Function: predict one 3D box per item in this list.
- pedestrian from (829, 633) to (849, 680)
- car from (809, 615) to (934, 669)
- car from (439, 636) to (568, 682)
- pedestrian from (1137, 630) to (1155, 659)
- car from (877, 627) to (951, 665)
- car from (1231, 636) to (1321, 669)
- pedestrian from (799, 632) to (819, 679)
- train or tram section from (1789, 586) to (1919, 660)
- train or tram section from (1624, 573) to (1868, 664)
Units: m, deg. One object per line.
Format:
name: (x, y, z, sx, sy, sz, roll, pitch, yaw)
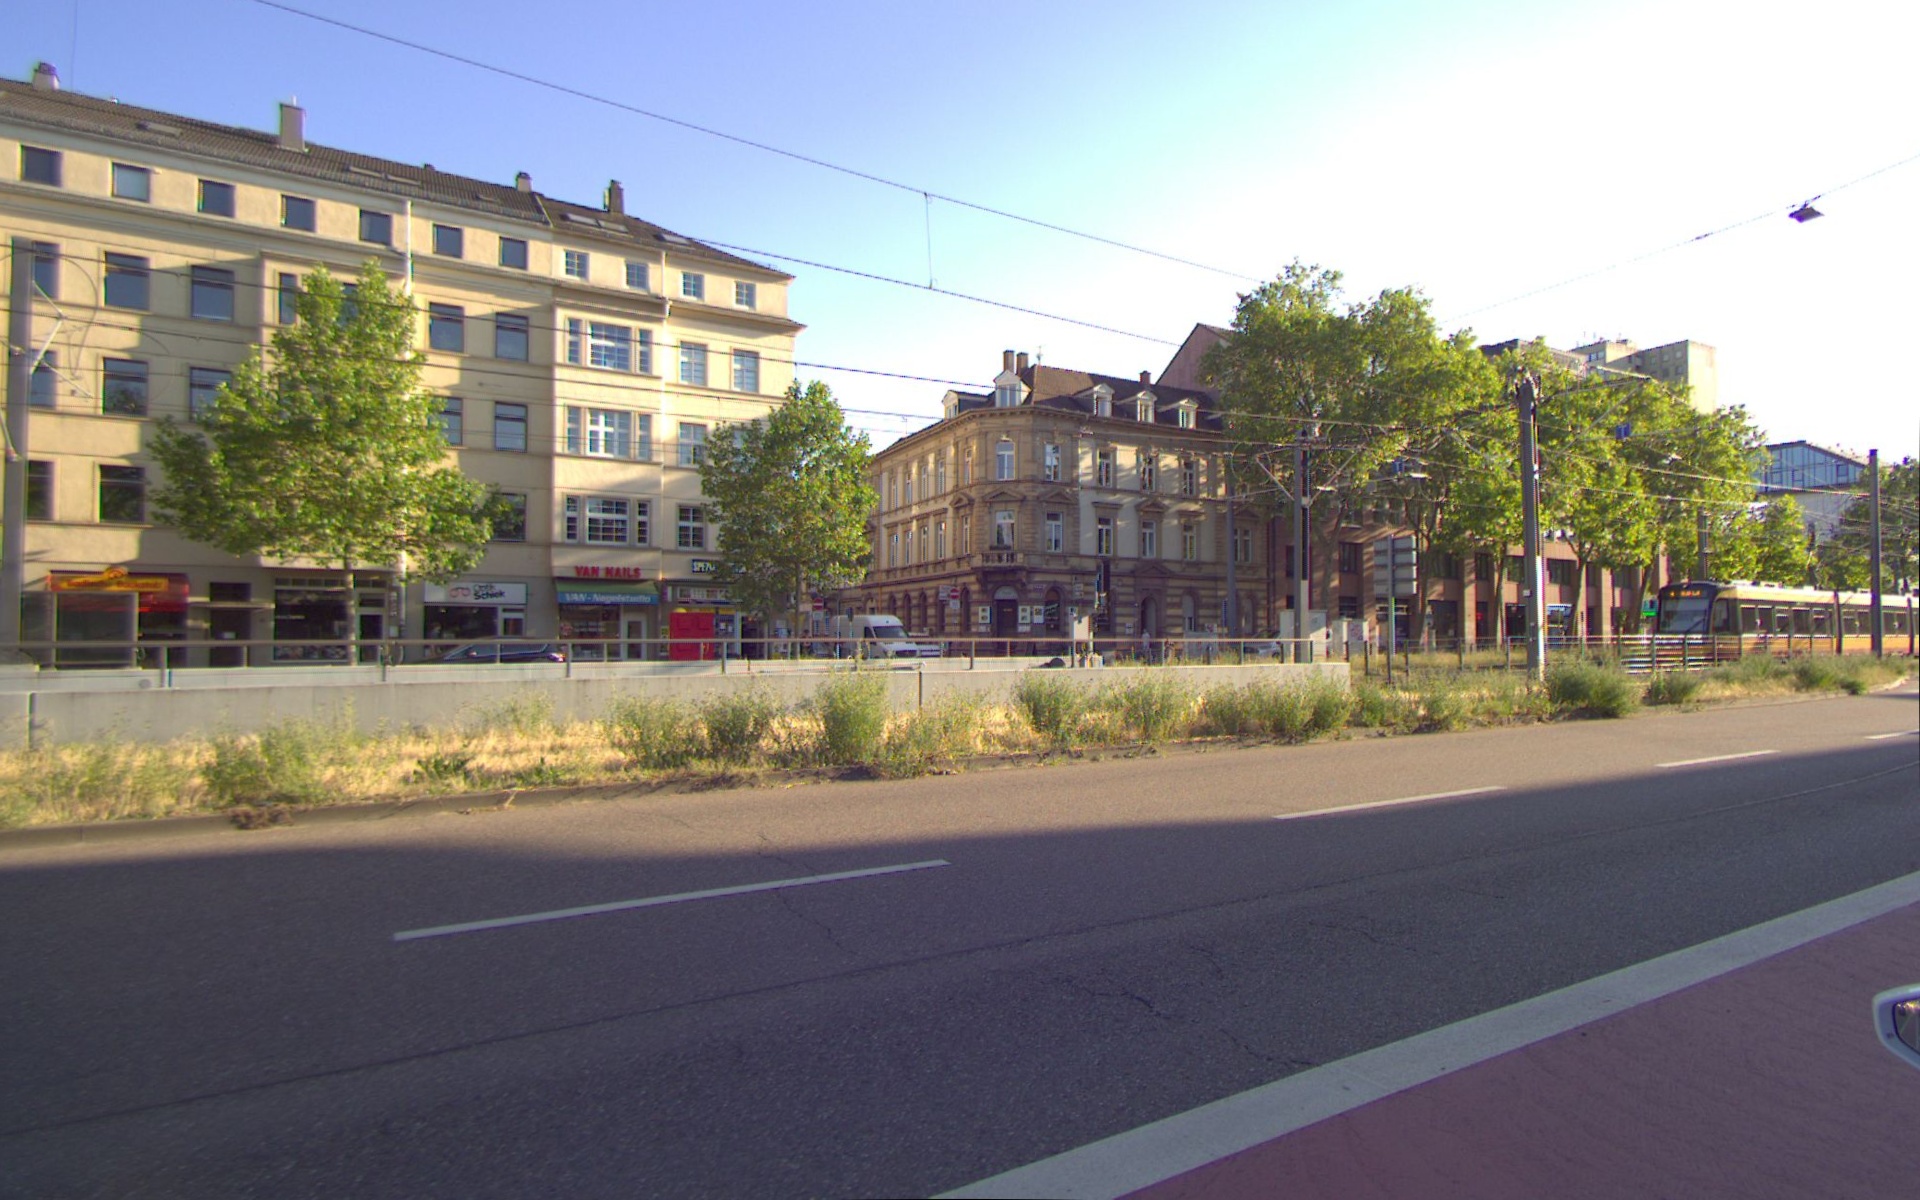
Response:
pedestrian: (-5.054, 2.353, 41.989, 0.579, 1.944, 0.628, 2, 0, -28)
car: (-4.189, 1.927, 46.071, 2.446, 2.296, 7.221, 2, -3, -35)
car: (-14.653, 1.877, 32.276, 3.666, 1.350, 1.447, 2, -1, -30)
pedestrian: (10.250, 2.462, 55.365, 0.683, 1.583, 0.700, 2, -2, -33)
car: (-2.516, 2.443, 53.680, 1.964, 1.912, 4.659, 1, -3, -31)
car: (16.110, 2.648, 51.140, 4.680, 1.605, 1.752, 2, -3, -31)
pedestrian: (-6.301, 2.314, 41.850, 0.624, 1.944, 0.582, 2, 0, -26)
train or tram section: (51.828, 1.396, 55.618, 19.712, 3.605, 3.096, 2, -3, -32)
train or tram section: (36.206, 0.975, 45.773, 17.285, 3.605, 3.096, 2, -3, -32)
